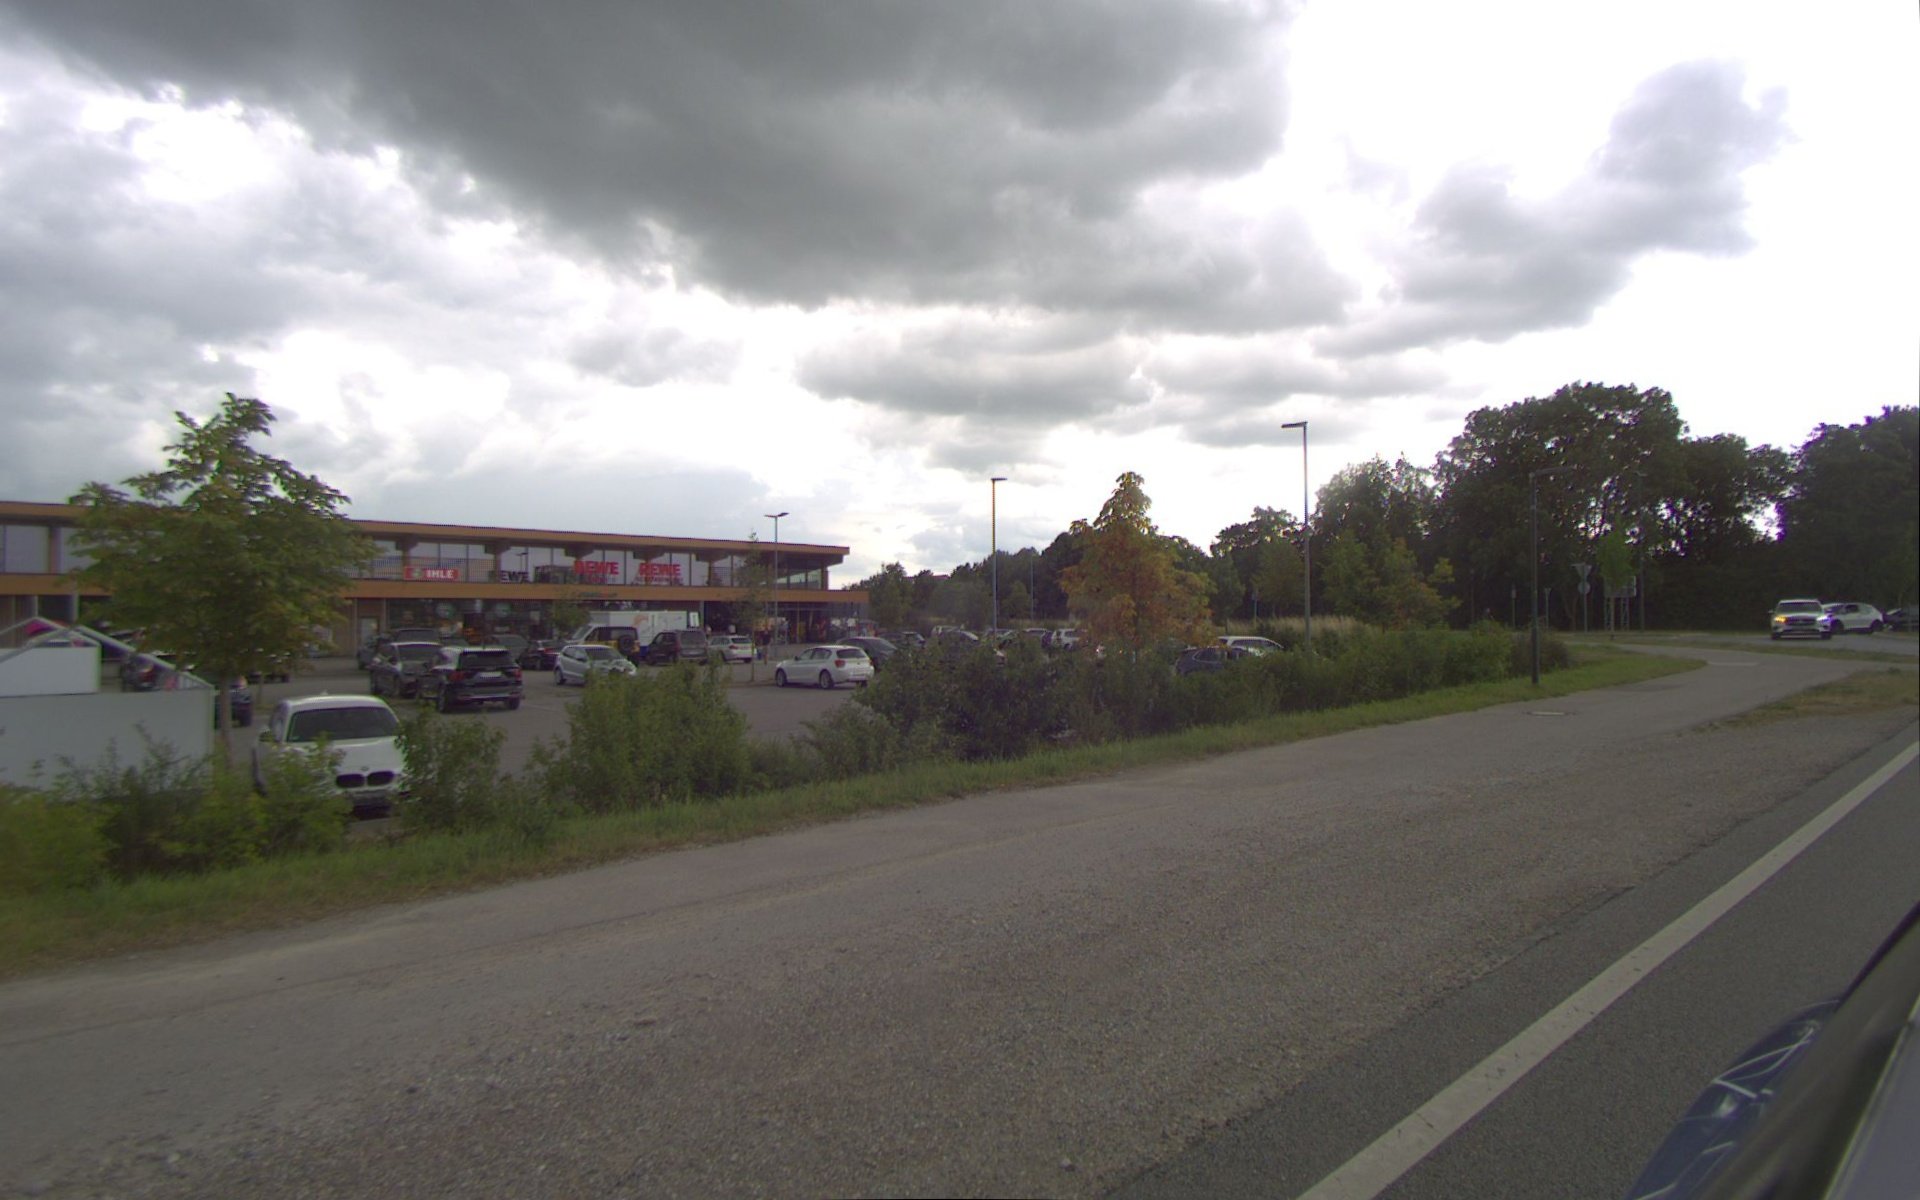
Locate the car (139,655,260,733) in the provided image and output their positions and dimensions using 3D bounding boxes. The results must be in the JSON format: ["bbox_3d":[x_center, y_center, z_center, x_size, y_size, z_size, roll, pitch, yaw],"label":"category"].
[{"bbox_3d":[-17.627,2.085,23.388,1.965,1.460,3.993,0,-1,-41],"label":"car"}]

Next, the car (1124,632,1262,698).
[{"bbox_3d":[7.204,1.948,31.518,1.629,1.727,3.993,0,1,-41],"label":"car"}]

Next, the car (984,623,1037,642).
[{"bbox_3d":[3.995,2.588,80.301,3.916,1.377,1.705,1,0,-13],"label":"car"}]

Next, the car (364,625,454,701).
[{"bbox_3d":[-17.121,1.871,31.356,1.962,2.039,3.999,0,1,-36],"label":"car"}]

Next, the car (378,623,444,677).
[{"bbox_3d":[-23.412,2.063,43.091,1.962,2.039,3.999,0,1,-36],"label":"car"}]

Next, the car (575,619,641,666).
[{"bbox_3d":[-17.072,2.010,48.948,1.962,2.039,3.999,0,1,-36],"label":"car"}]

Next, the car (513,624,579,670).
[{"bbox_3d":[-19.188,2.154,46.853,1.962,2.040,3.998,0,-2,-36],"label":"car"}]

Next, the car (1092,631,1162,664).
[{"bbox_3d":[8.311,2.306,50.095,1.834,1.377,3.947,1,1,36],"label":"car"}]

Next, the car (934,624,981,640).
[{"bbox_3d":[-0.218,2.867,90.889,3.916,1.377,1.705,1,0,-13],"label":"car"}]

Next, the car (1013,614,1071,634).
[{"bbox_3d":[6.043,1.785,74.691,3.916,1.377,1.705,1,0,-13],"label":"car"}]

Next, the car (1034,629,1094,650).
[{"bbox_3d":[7.397,2.795,72.255,3.916,1.377,1.705,1,0,-13],"label":"car"}]

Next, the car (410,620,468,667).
[{"bbox_3d":[-25.554,2.092,49.571,1.962,2.039,3.999,0,1,-36],"label":"car"}]

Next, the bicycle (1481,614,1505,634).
[{"bbox_3d":[27.890,1.255,52.984,0.557,0.974,1.301,1,0,0],"label":"bicycle"}]

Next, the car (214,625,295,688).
[{"bbox_3d":[-26.928,2.073,38.562,1.965,2.039,5.137,0,1,-41],"label":"car"}]

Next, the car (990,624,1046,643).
[{"bbox_3d":[4.437,2.547,77.386,3.916,1.377,1.705,1,0,-13],"label":"car"}]

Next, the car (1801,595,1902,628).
[{"bbox_3d":[42.783,0.536,48.589,3.691,1.538,2.004,1,0,-17],"label":"car"}]

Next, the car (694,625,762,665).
[{"bbox_3d":[-12.185,2.306,53.019,2.032,1.871,3.999,0,1,-36],"label":"car"}]

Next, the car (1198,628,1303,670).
[{"bbox_3d":[12.876,2.150,44.867,4.154,1.738,1.705,1,0,-13],"label":"car"}]

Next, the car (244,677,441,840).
[{"bbox_3d":[-8.541,2.012,13.864,1.647,1.557,3.761,0,1,-42],"label":"car"}]

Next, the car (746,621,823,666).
[{"bbox_3d":[-8.471,2.037,48.650,1.962,1.894,4.274,0,1,-36],"label":"car"}]

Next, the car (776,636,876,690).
[{"bbox_3d":[-4.631,2.122,34.815,1.723,1.552,3.554,0,1,-42],"label":"car"}]

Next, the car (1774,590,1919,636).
[{"bbox_3d":[35.343,0.496,40.489,3.965,1.705,1.980,1,1,29],"label":"car"}]

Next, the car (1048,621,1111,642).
[{"bbox_3d":[8.150,2.140,69.131,3.916,1.377,1.705,1,0,-13],"label":"car"}]

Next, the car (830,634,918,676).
[{"bbox_3d":[-3.757,2.321,43.654,1.962,1.504,4.131,0,1,-36],"label":"car"}]

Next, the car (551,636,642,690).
[{"bbox_3d":[-12.949,2.177,35.926,1.962,1.571,4.131,0,1,-36],"label":"car"}]

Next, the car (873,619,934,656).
[{"bbox_3d":[-3.451,2.220,60.915,1.961,2.039,4.003,0,1,-32],"label":"car"}]

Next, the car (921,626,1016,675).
[{"bbox_3d":[0.281,1.920,38.334,1.771,1.728,3.385,0,-3,-42],"label":"car"}]

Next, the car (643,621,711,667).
[{"bbox_3d":[-14.186,2.151,50.565,2.032,2.039,3.999,0,1,-36],"label":"car"}]

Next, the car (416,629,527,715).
[{"bbox_3d":[-13.116,1.833,27.059,1.962,1.894,4.274,0,1,-36],"label":"car"}]

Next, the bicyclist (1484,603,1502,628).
[{"bbox_3d":[27.893,0.816,52.972,0.545,1.259,0.659,1,0,0],"label":"bicyclist"}]

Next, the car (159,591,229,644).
[{"bbox_3d":[-32.456,0.678,42.828,1.965,2.039,5.137,0,1,-41],"label":"car"}]
